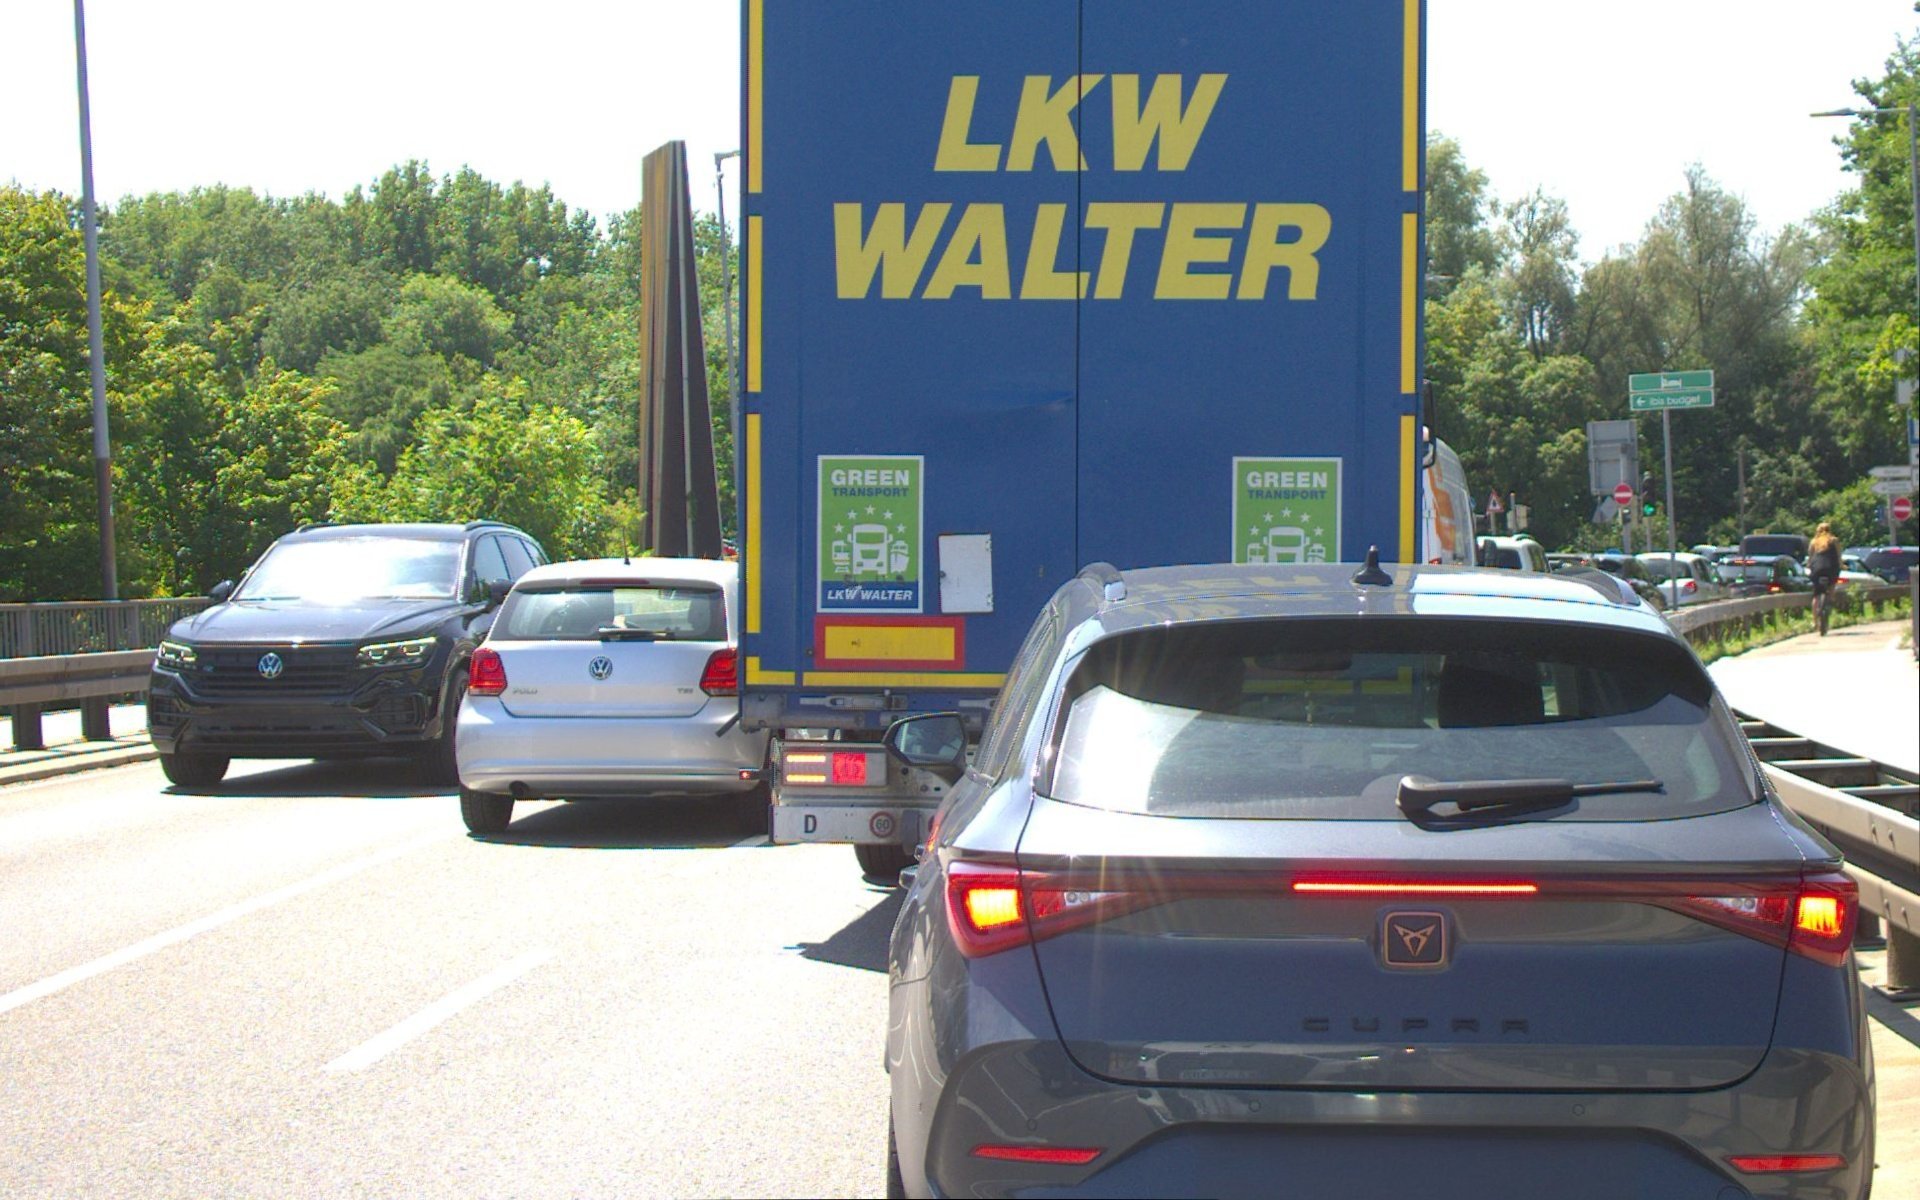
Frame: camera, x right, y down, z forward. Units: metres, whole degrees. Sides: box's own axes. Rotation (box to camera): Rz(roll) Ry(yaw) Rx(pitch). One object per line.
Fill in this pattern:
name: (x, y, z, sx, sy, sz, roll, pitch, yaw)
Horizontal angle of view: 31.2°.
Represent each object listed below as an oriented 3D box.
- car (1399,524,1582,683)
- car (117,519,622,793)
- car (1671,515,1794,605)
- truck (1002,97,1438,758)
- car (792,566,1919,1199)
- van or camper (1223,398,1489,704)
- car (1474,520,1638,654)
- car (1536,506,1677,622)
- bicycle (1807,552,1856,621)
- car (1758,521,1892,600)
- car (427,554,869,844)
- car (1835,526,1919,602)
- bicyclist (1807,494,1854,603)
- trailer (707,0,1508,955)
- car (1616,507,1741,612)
car: (6.587, -0.009, 42.386, 1.722, 1.837, 3.997, 0, 2, 16)
car: (-3.851, 0.307, 23.312, 1.967, 1.667, 4.612, -1, 1, 9)
car: (15.582, -0.802, 69.206, 1.687, 1.754, 3.995, 0, 0, 24)
truck: (2.149, -1.223, 26.370, 2.905, 4.403, 6.554, 0, 1, 7)
car: (0.694, 0.671, 7.039, 1.677, 1.451, 3.958, 0, 1, 3)
van or camper: (4.119, -0.516, 34.789, 2.155, 2.806, 6.384, 0, 1, 11)
car: (8.451, -0.222, 48.530, 1.722, 1.796, 3.997, 0, 1, 18)
car: (10.706, -0.618, 56.775, 1.722, 1.837, 3.996, 0, 1, 19)
bicycle: (13.690, -0.220, 54.009, 0.582, 1.032, 1.484, -3, 0, 10)
car: (19.005, -0.852, 75.416, 1.996, 1.570, 3.994, 2, 0, 27)
car: (-1.629, 0.469, 19.262, 1.677, 1.406, 3.974, 0, 1, 7)
car: (22.052, -0.834, 81.343, 1.688, 1.754, 3.994, 0, 0, 29)
bicyclist: (13.661, -0.808, 53.965, 0.578, 1.677, 0.729, -3, 0, 10)
trailer: (1.234, -1.057, 18.683, 2.905, 4.403, 12.430, 0, 1, 7)
car: (13.096, -0.757, 62.530, 1.722, 1.837, 3.996, 0, 1, 19)
